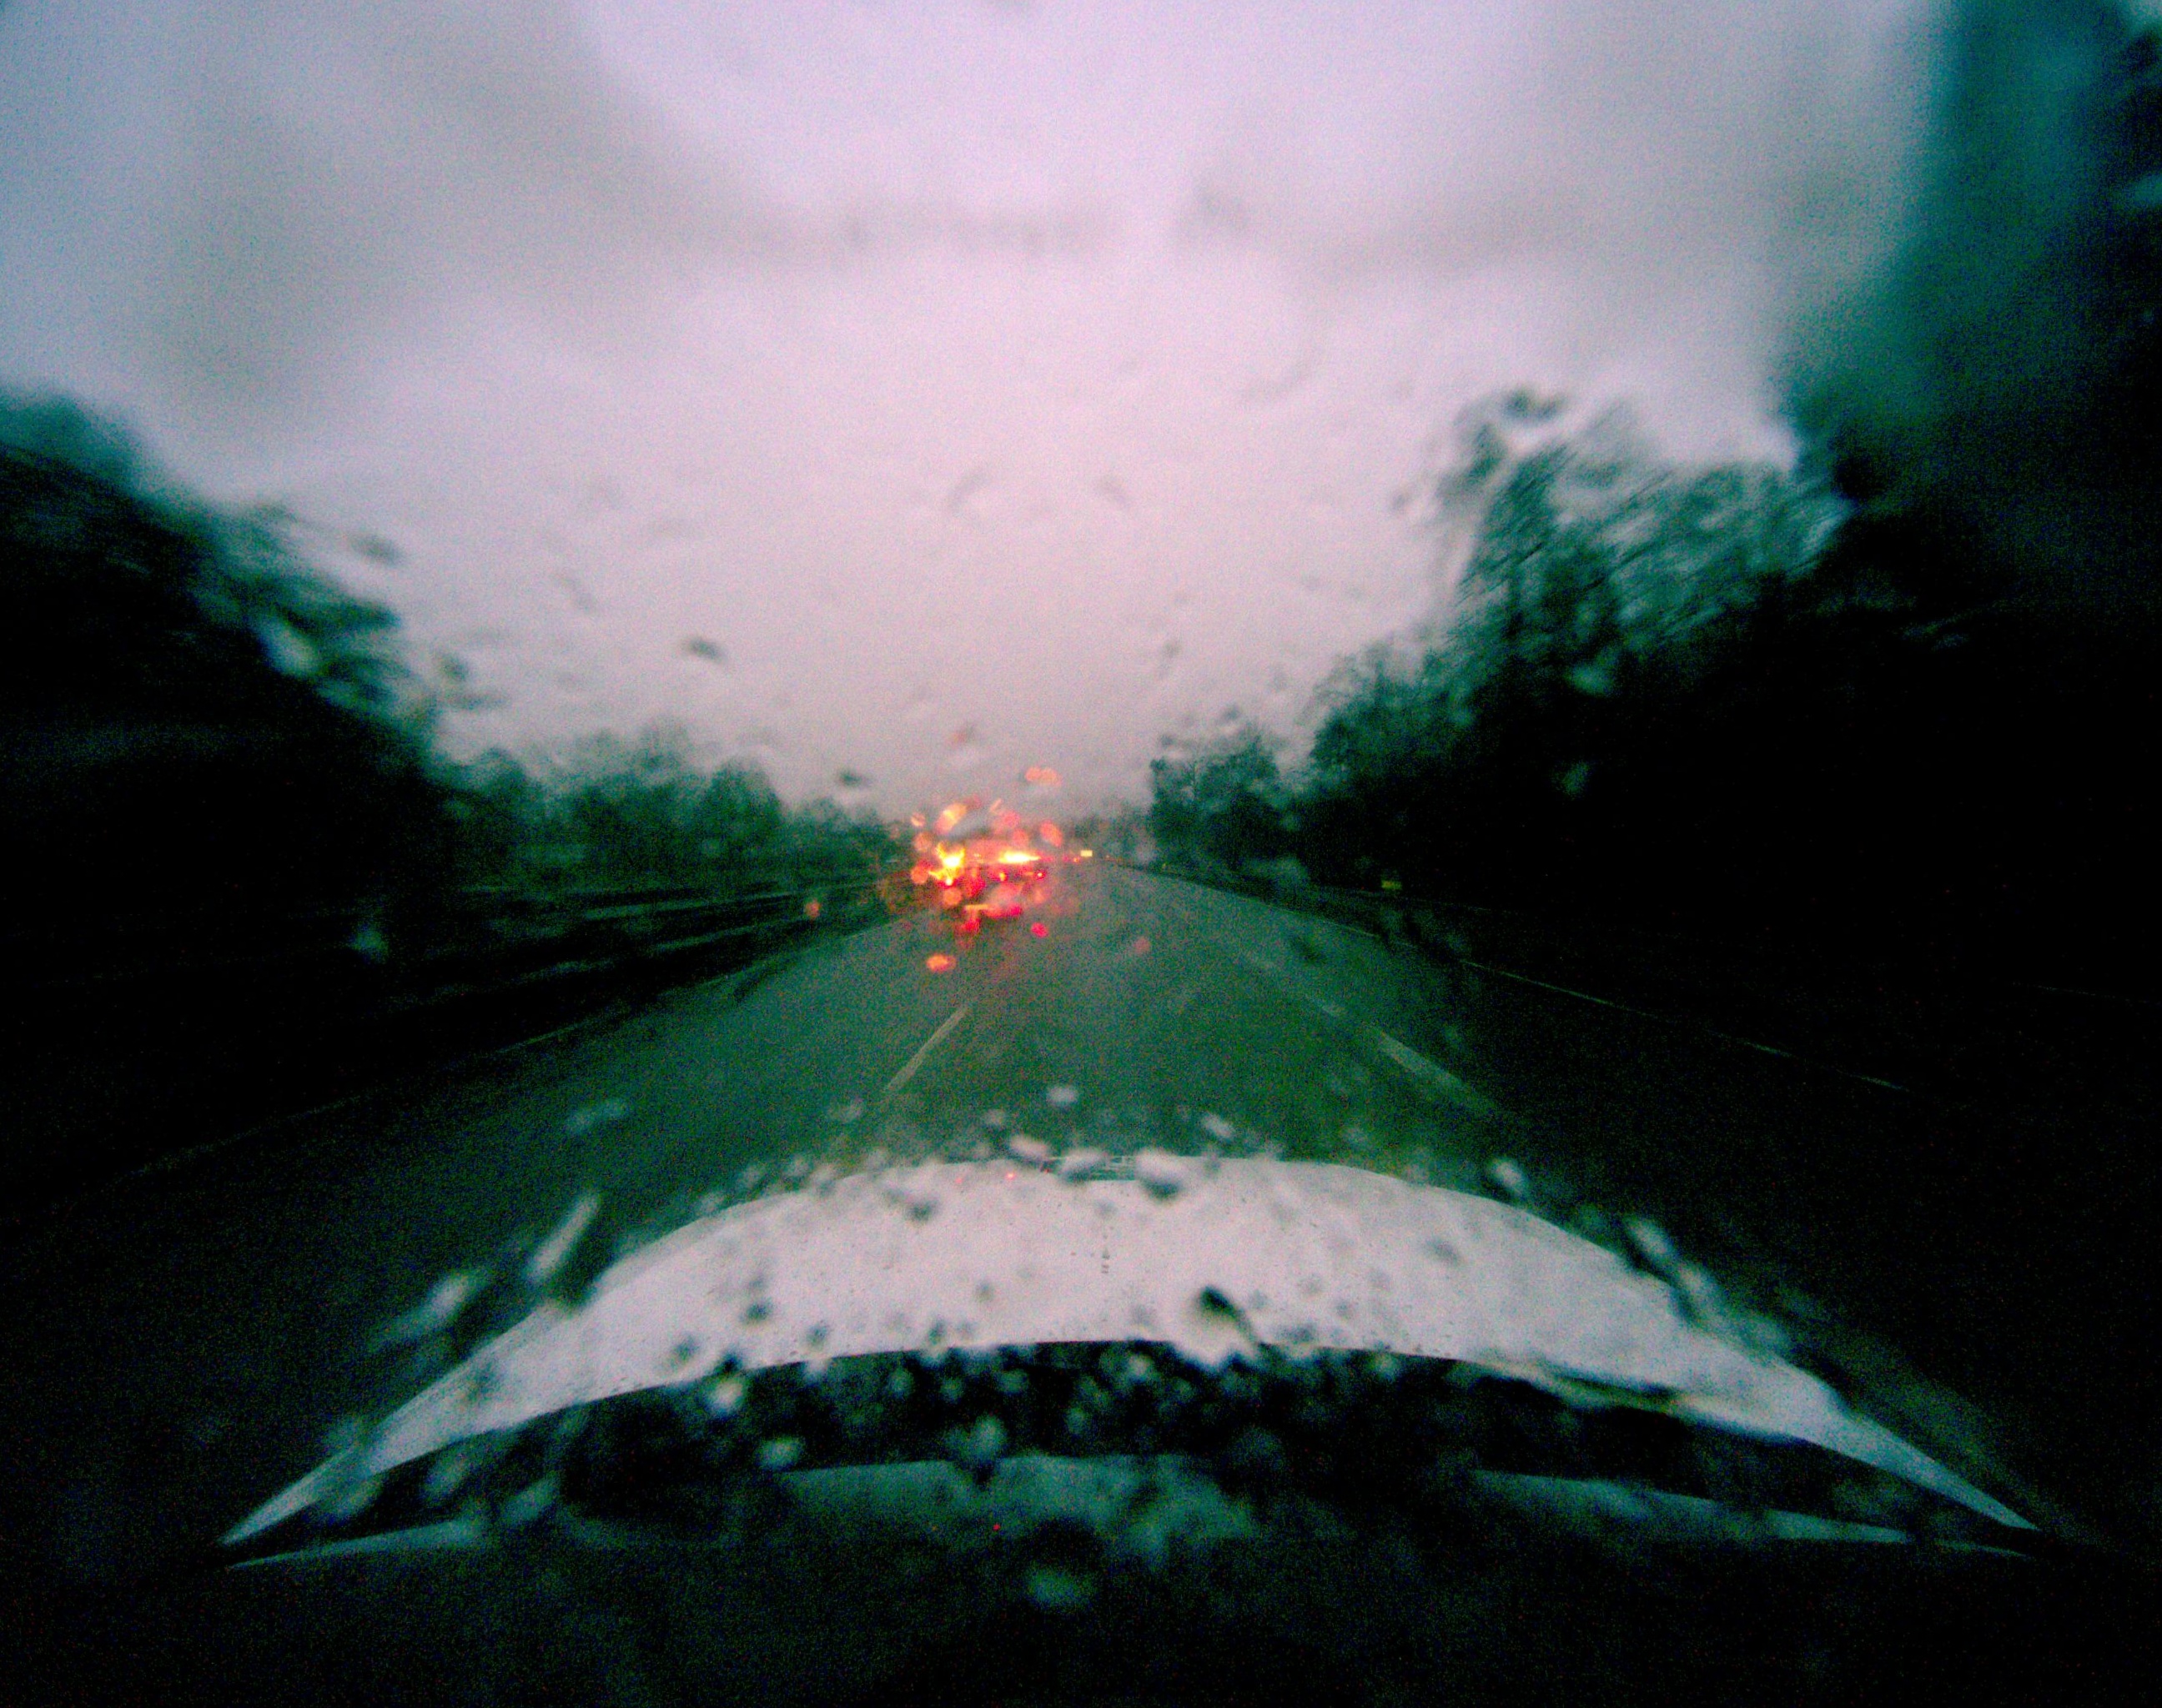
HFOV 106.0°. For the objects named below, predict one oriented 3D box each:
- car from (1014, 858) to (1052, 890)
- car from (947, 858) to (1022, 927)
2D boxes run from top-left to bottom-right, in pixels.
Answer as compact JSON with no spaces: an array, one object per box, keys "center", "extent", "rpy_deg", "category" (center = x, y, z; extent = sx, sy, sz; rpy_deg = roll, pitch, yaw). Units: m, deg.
[{"center":[-2.440,0.992,42.409],"extent":[1.771,1.534,4.699],"rpy_deg":[-2,0,-2],"category":"car"},{"center":[-2.247,0.860,19.643],"extent":[1.524,1.415,3.475],"rpy_deg":[2,0,-3],"category":"car"}]
